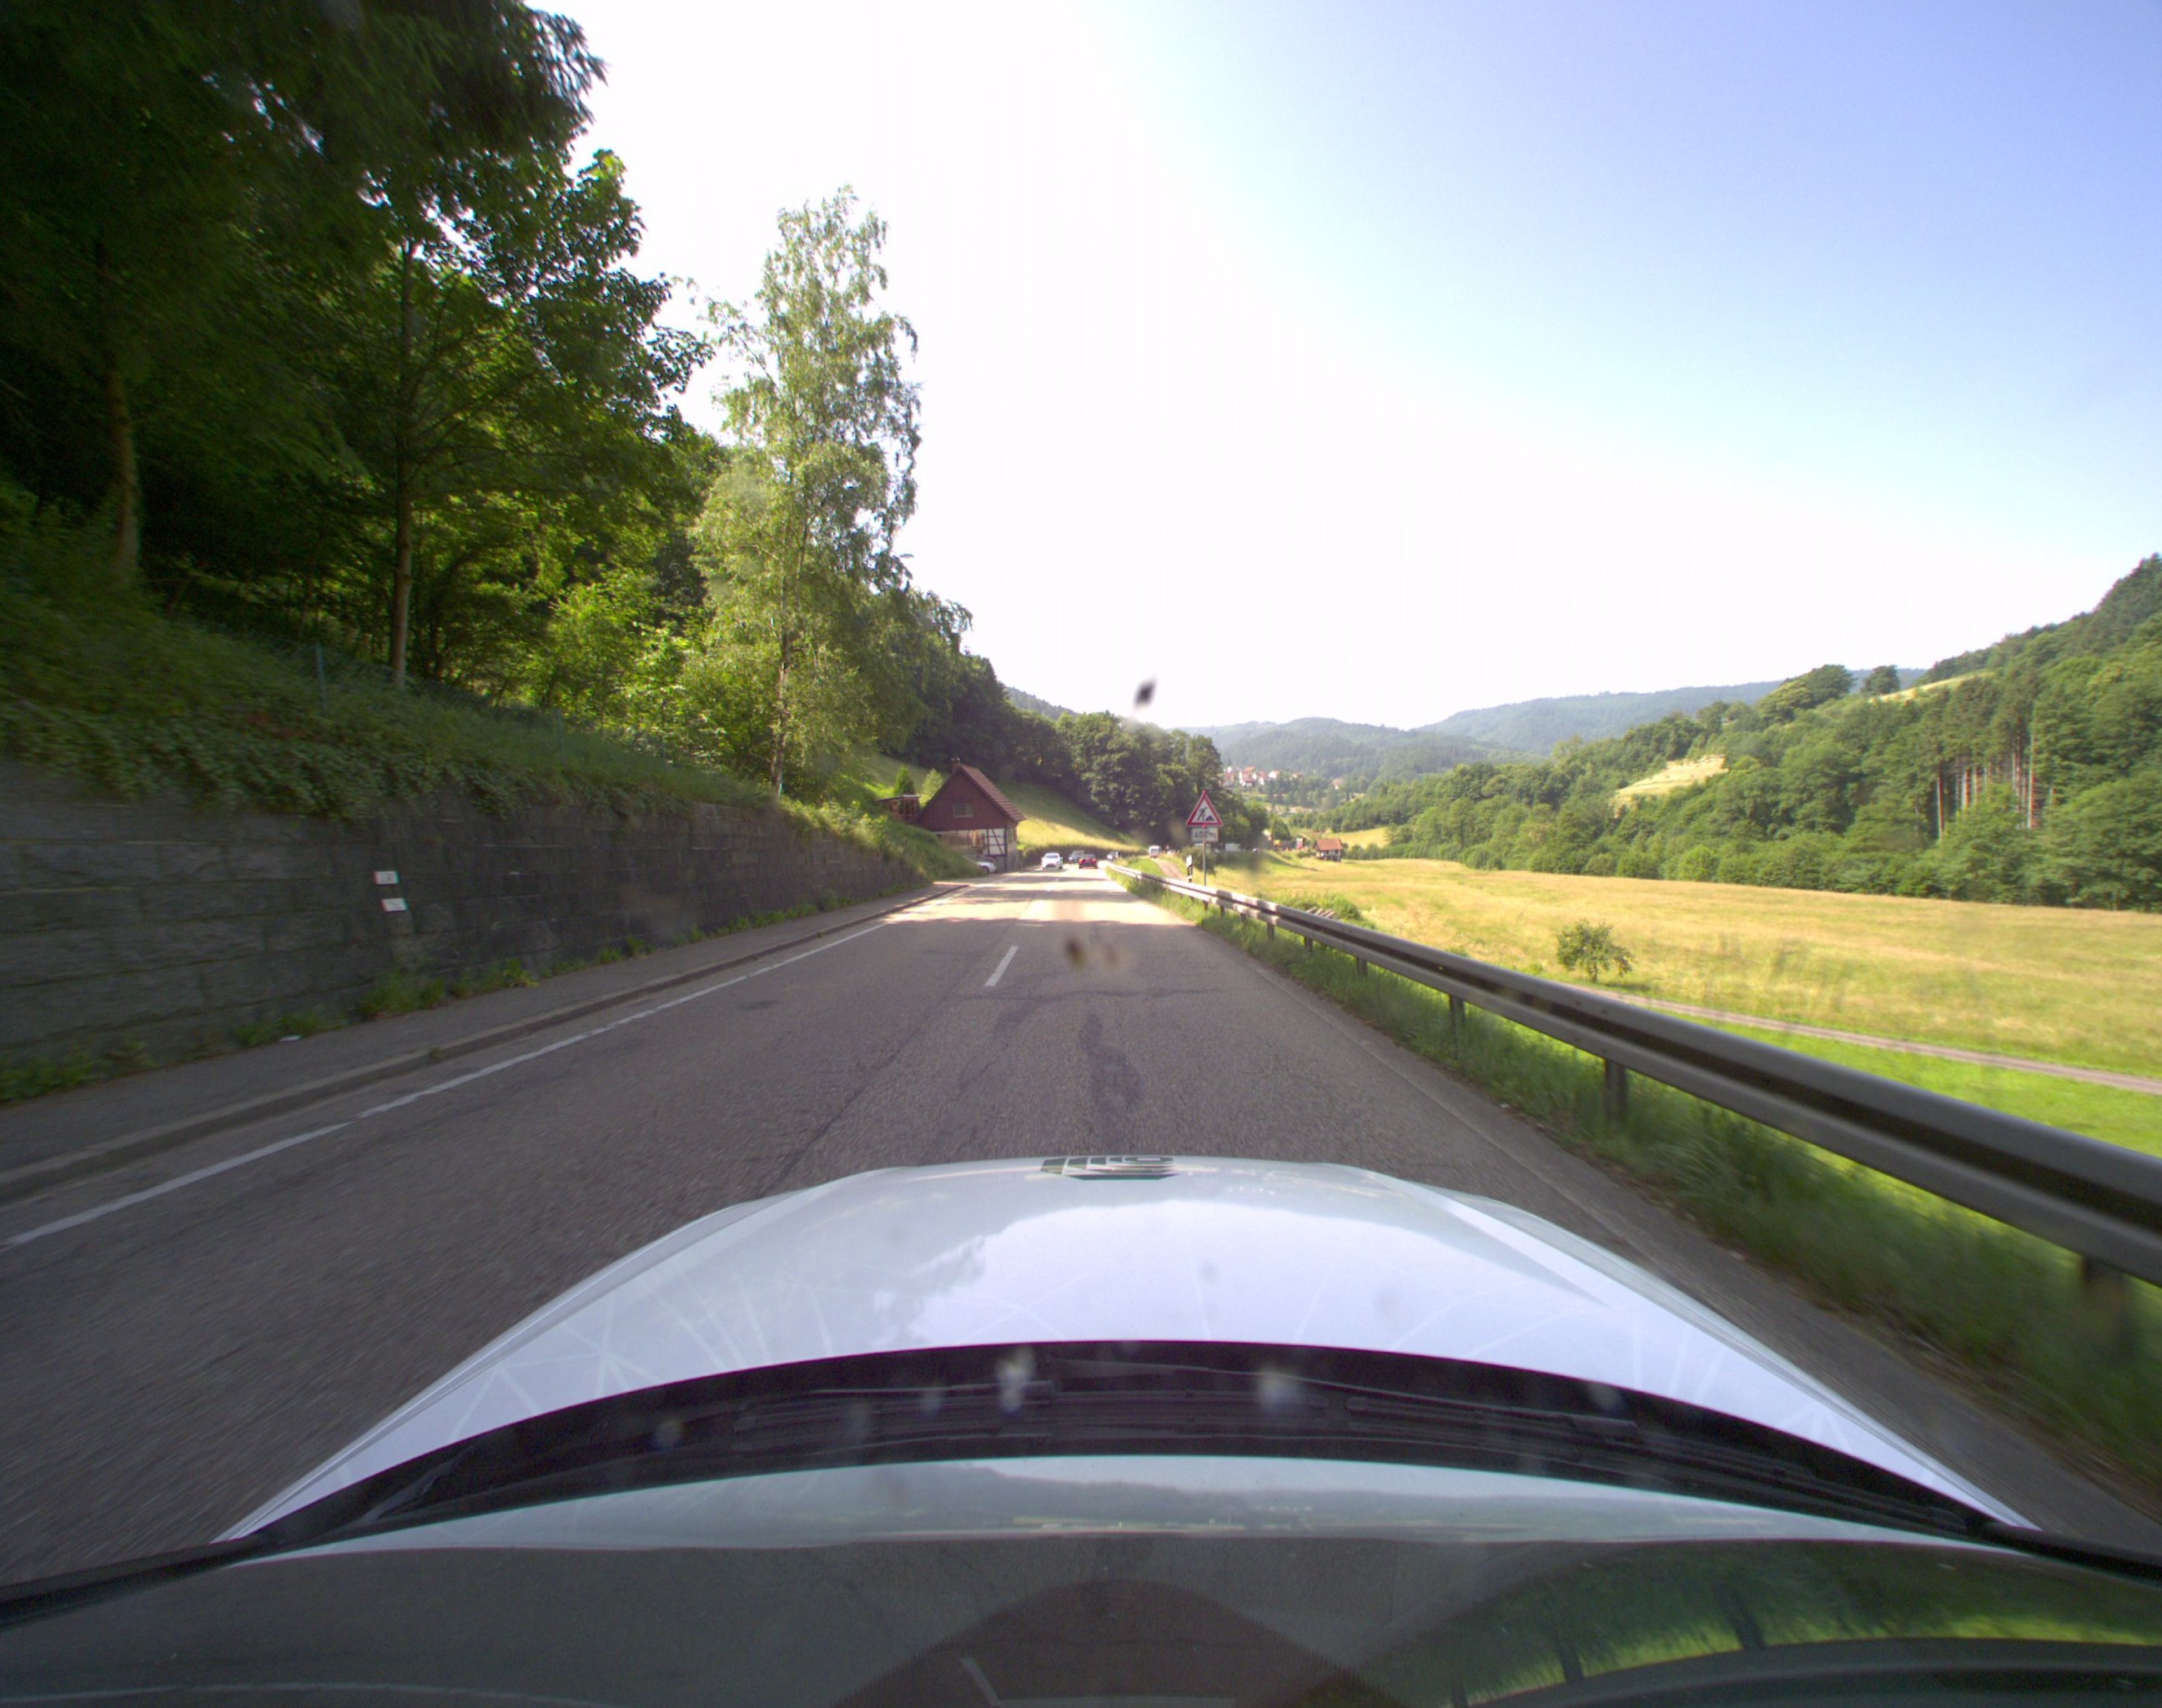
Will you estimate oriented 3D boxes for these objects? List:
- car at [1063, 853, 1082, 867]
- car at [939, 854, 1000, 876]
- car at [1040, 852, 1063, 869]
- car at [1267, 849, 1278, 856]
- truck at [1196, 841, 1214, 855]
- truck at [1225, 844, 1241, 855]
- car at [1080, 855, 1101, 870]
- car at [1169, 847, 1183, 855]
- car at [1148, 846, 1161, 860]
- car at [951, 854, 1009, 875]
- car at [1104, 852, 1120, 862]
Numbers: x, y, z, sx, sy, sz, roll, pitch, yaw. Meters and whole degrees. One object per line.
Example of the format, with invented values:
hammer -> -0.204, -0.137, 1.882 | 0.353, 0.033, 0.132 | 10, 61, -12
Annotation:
car -> -0.994, 0.729, 98.476 | 1.881, 1.645, 4.261 | -1, -1, 3
car -> -7.616, 0.726, 55.965 | 3.800, 1.416, 1.859 | 0, 1, 3
car -> -2.666, 0.591, 75.068 | 1.770, 1.437, 4.003 | -1, 0, 3
car -> 56.909, -0.397, 241.569 | 1.975, 1.925, 4.025 | 4, 1, 32
truck -> 29.111, -1.370, 191.425 | 2.768, 2.997, 6.904 | 3, 2, 21
truck -> 39.911, -1.241, 213.159 | 2.216, 2.804, 6.269 | 2, 0, 28
car -> 0.945, 0.790, 77.923 | 1.763, 1.335, 3.772 | 1, 2, 4
car -> 19.917, -0.608, 170.480 | 1.977, 1.484, 4.020 | 3, 2, 19
car -> 13.507, -0.243, 149.951 | 1.981, 2.352, 4.929 | 1, 2, 10
car -> -7.255, 0.760, 58.663 | 3.800, 1.433, 1.865 | 0, 1, 3
car -> 4.857, 0.418, 127.017 | 1.753, 1.396, 4.158 | 0, 1, 11
